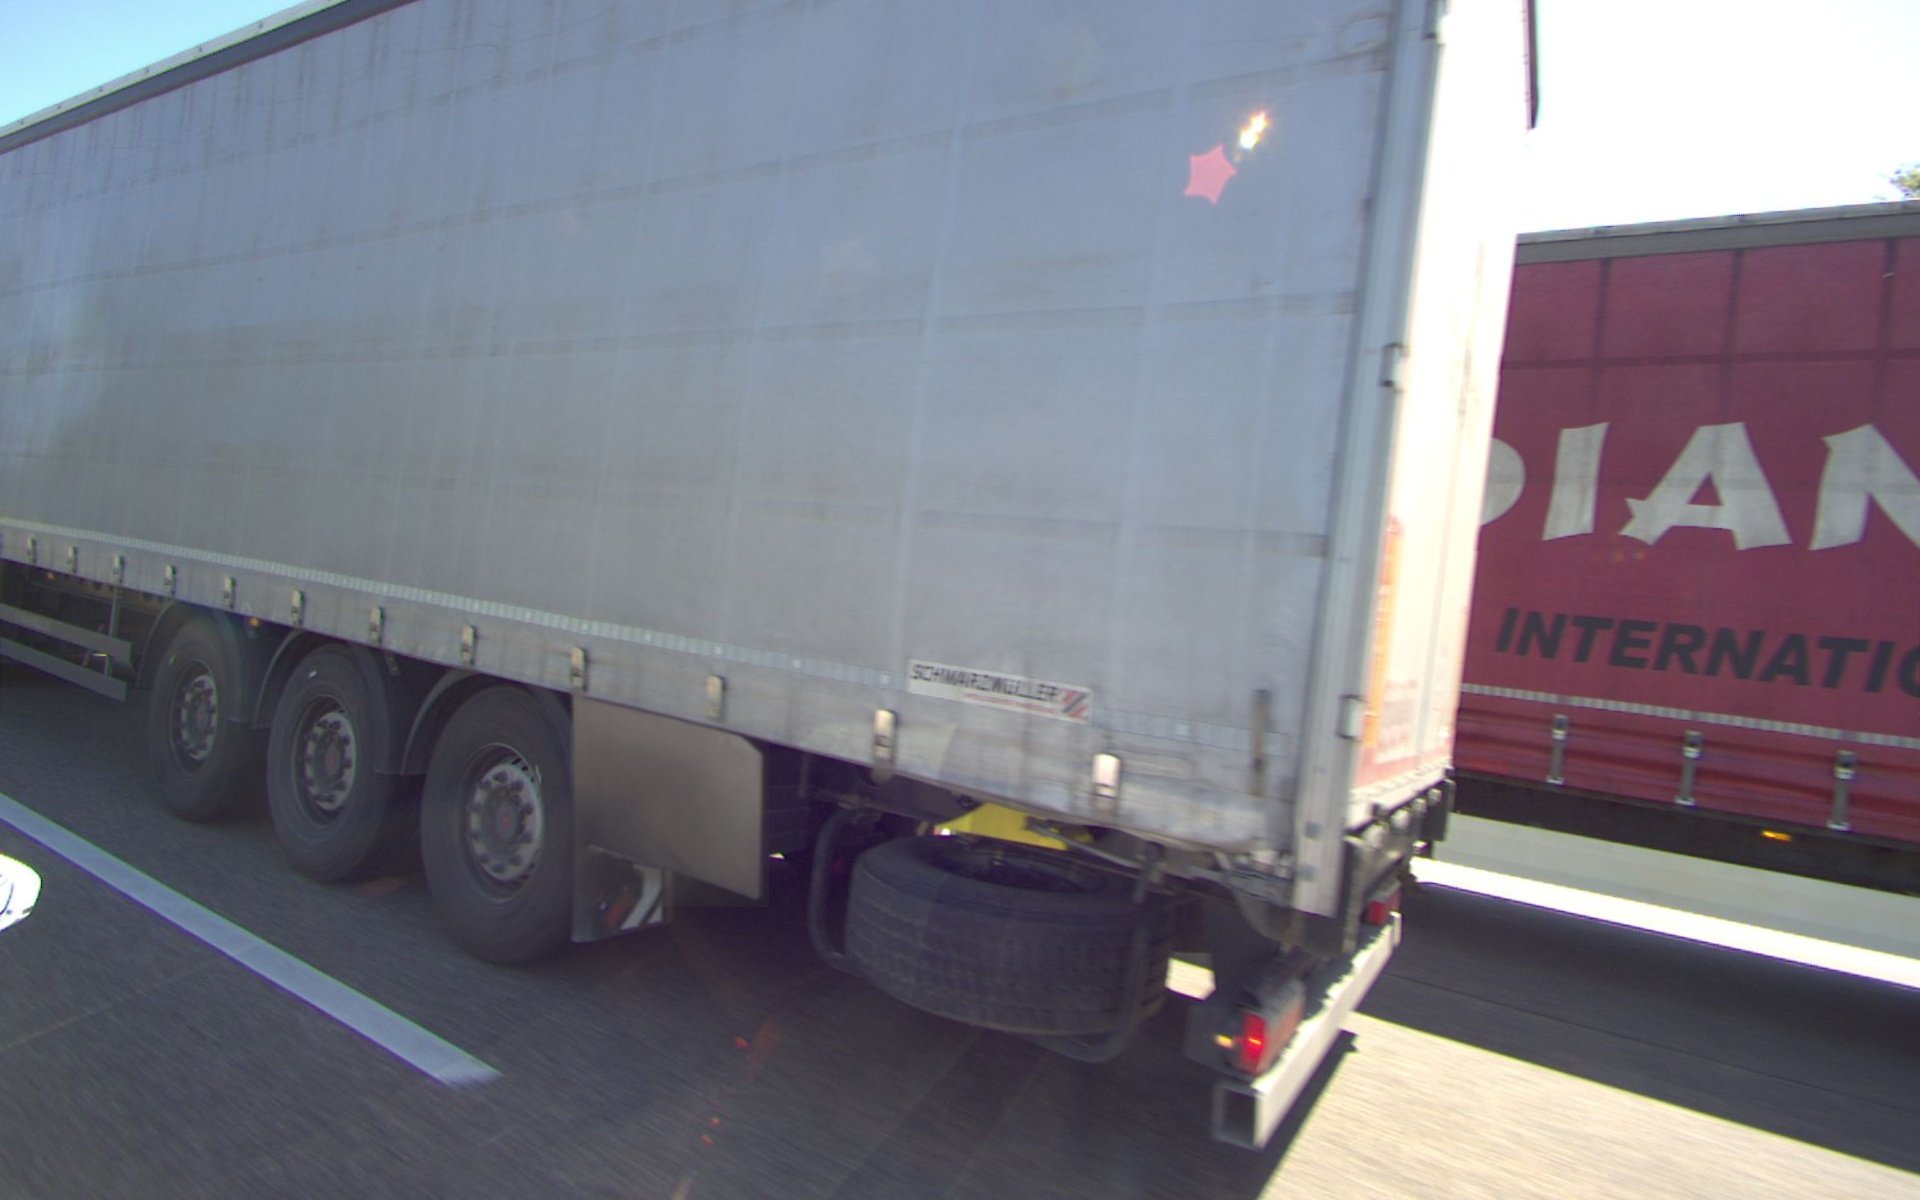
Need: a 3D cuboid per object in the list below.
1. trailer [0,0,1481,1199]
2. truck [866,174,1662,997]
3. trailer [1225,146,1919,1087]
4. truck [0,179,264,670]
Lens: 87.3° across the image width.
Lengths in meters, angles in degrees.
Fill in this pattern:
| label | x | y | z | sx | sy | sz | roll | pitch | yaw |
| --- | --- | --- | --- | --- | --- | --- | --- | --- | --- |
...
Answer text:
| label | x | y | z | sx | sy | sz | roll | pitch | yaw |
| --- | --- | --- | --- | --- | --- | --- | --- | --- | --- |
| trailer | -4.741 | -1.151 | 7.090 | 14.502 | 4.116 | 2.712 | 5 | -1 | 32 |
| truck | 2.053 | -0.166 | 7.408 | 4.596 | 4.281 | 2.332 | 6 | -1 | 32 |
| trailer | 6.875 | 0.311 | 4.411 | 10.478 | 4.292 | 2.319 | 6 | -1 | 32 |
| truck | -10.743 | -1.722 | 10.809 | 6.346 | 4.142 | 2.705 | 6 | -1 | 32 |
